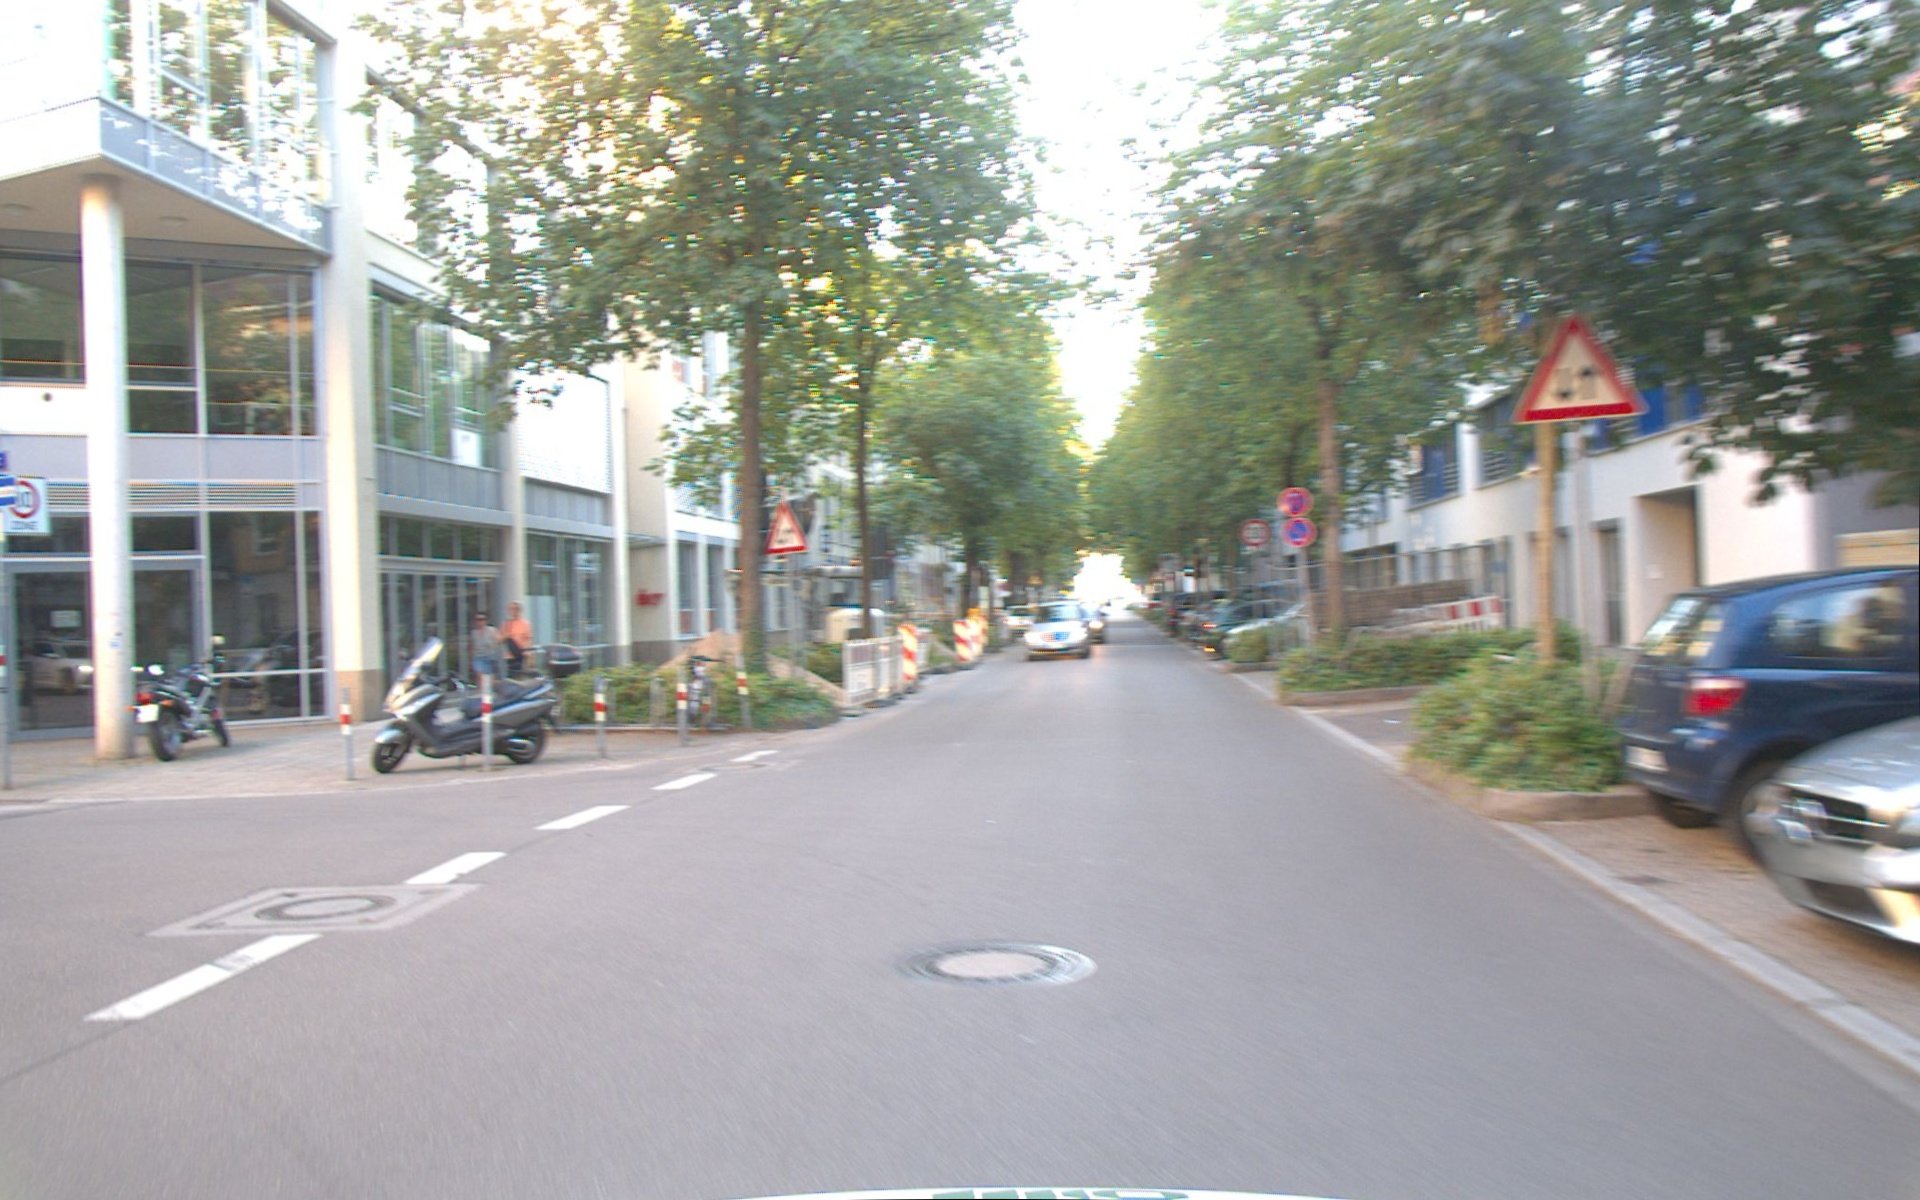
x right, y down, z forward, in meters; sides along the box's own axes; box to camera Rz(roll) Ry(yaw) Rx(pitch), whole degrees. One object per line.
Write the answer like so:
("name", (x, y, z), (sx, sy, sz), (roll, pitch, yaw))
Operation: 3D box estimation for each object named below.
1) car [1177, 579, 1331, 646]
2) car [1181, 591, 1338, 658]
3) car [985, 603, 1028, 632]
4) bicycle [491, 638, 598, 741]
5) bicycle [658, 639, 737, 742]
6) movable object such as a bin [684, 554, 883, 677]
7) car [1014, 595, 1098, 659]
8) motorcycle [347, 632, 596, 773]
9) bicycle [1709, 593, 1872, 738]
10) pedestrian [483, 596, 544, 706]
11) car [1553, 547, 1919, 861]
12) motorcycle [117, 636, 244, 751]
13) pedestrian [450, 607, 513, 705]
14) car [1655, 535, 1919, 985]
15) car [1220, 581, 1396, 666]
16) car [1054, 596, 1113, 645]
("car", (9.306, 0.392, 52.625), (4.639, 2.049, 2.001), (-1, 0, 4))
("car", (7.848, 0.644, 43.684), (3.902, 1.612, 2.001), (-2, 0, 6))
("car", (2.228, 0.816, 80.351), (1.952, 1.310, 4.000), (-2, 0, 0))
("bicycle", (-5.336, 1.126, 21.370), (0.668, 1.173, 1.982), (-2, 0, 6))
("bicycle", (-3.348, 1.132, 21.230), (0.669, 1.173, 1.981), (-2, 0, 0))
("movable object such as a bin", (-3.750, 0.317, 35.851), (3.964, 2.424, 2.784), (-2, 0, -1))
("car", (2.803, 0.746, 47.530), (1.967, 1.641, 4.123), (-2, 0, 9))
("motorcycle", (-5.220, 1.054, 17.752), (2.330, 1.304, 1.054), (-2, 0, -36))
("bicycle", (7.796, 0.579, 15.616), (0.810, 1.256, 1.805), (-2, 0, 9))
("pedestrian", (-7.171, 0.811, 26.595), (0.723, 1.720, 0.607), (-2, 0, 6))
("car", (5.429, 0.511, 9.414), (3.464, 1.591, 1.833), (-2, 0, 4))
("motorcycle", (-9.205, 1.068, 19.633), (0.545, 1.192, 2.306), (-2, 0, -4))
("pedestrian", (-7.797, 0.903, 26.973), (0.753, 1.562, 0.643), (-2, 0, 5))
("car", (5.517, 0.514, 6.736), (4.524, 1.598, 2.012), (-1, 0, 4))
("car", (8.143, 0.550, 39.064), (3.902, 1.836, 2.002), (-2, 0, 8))
("car", (4.795, 0.766, 64.701), (1.910, 1.743, 4.702), (-2, 0, 0))
